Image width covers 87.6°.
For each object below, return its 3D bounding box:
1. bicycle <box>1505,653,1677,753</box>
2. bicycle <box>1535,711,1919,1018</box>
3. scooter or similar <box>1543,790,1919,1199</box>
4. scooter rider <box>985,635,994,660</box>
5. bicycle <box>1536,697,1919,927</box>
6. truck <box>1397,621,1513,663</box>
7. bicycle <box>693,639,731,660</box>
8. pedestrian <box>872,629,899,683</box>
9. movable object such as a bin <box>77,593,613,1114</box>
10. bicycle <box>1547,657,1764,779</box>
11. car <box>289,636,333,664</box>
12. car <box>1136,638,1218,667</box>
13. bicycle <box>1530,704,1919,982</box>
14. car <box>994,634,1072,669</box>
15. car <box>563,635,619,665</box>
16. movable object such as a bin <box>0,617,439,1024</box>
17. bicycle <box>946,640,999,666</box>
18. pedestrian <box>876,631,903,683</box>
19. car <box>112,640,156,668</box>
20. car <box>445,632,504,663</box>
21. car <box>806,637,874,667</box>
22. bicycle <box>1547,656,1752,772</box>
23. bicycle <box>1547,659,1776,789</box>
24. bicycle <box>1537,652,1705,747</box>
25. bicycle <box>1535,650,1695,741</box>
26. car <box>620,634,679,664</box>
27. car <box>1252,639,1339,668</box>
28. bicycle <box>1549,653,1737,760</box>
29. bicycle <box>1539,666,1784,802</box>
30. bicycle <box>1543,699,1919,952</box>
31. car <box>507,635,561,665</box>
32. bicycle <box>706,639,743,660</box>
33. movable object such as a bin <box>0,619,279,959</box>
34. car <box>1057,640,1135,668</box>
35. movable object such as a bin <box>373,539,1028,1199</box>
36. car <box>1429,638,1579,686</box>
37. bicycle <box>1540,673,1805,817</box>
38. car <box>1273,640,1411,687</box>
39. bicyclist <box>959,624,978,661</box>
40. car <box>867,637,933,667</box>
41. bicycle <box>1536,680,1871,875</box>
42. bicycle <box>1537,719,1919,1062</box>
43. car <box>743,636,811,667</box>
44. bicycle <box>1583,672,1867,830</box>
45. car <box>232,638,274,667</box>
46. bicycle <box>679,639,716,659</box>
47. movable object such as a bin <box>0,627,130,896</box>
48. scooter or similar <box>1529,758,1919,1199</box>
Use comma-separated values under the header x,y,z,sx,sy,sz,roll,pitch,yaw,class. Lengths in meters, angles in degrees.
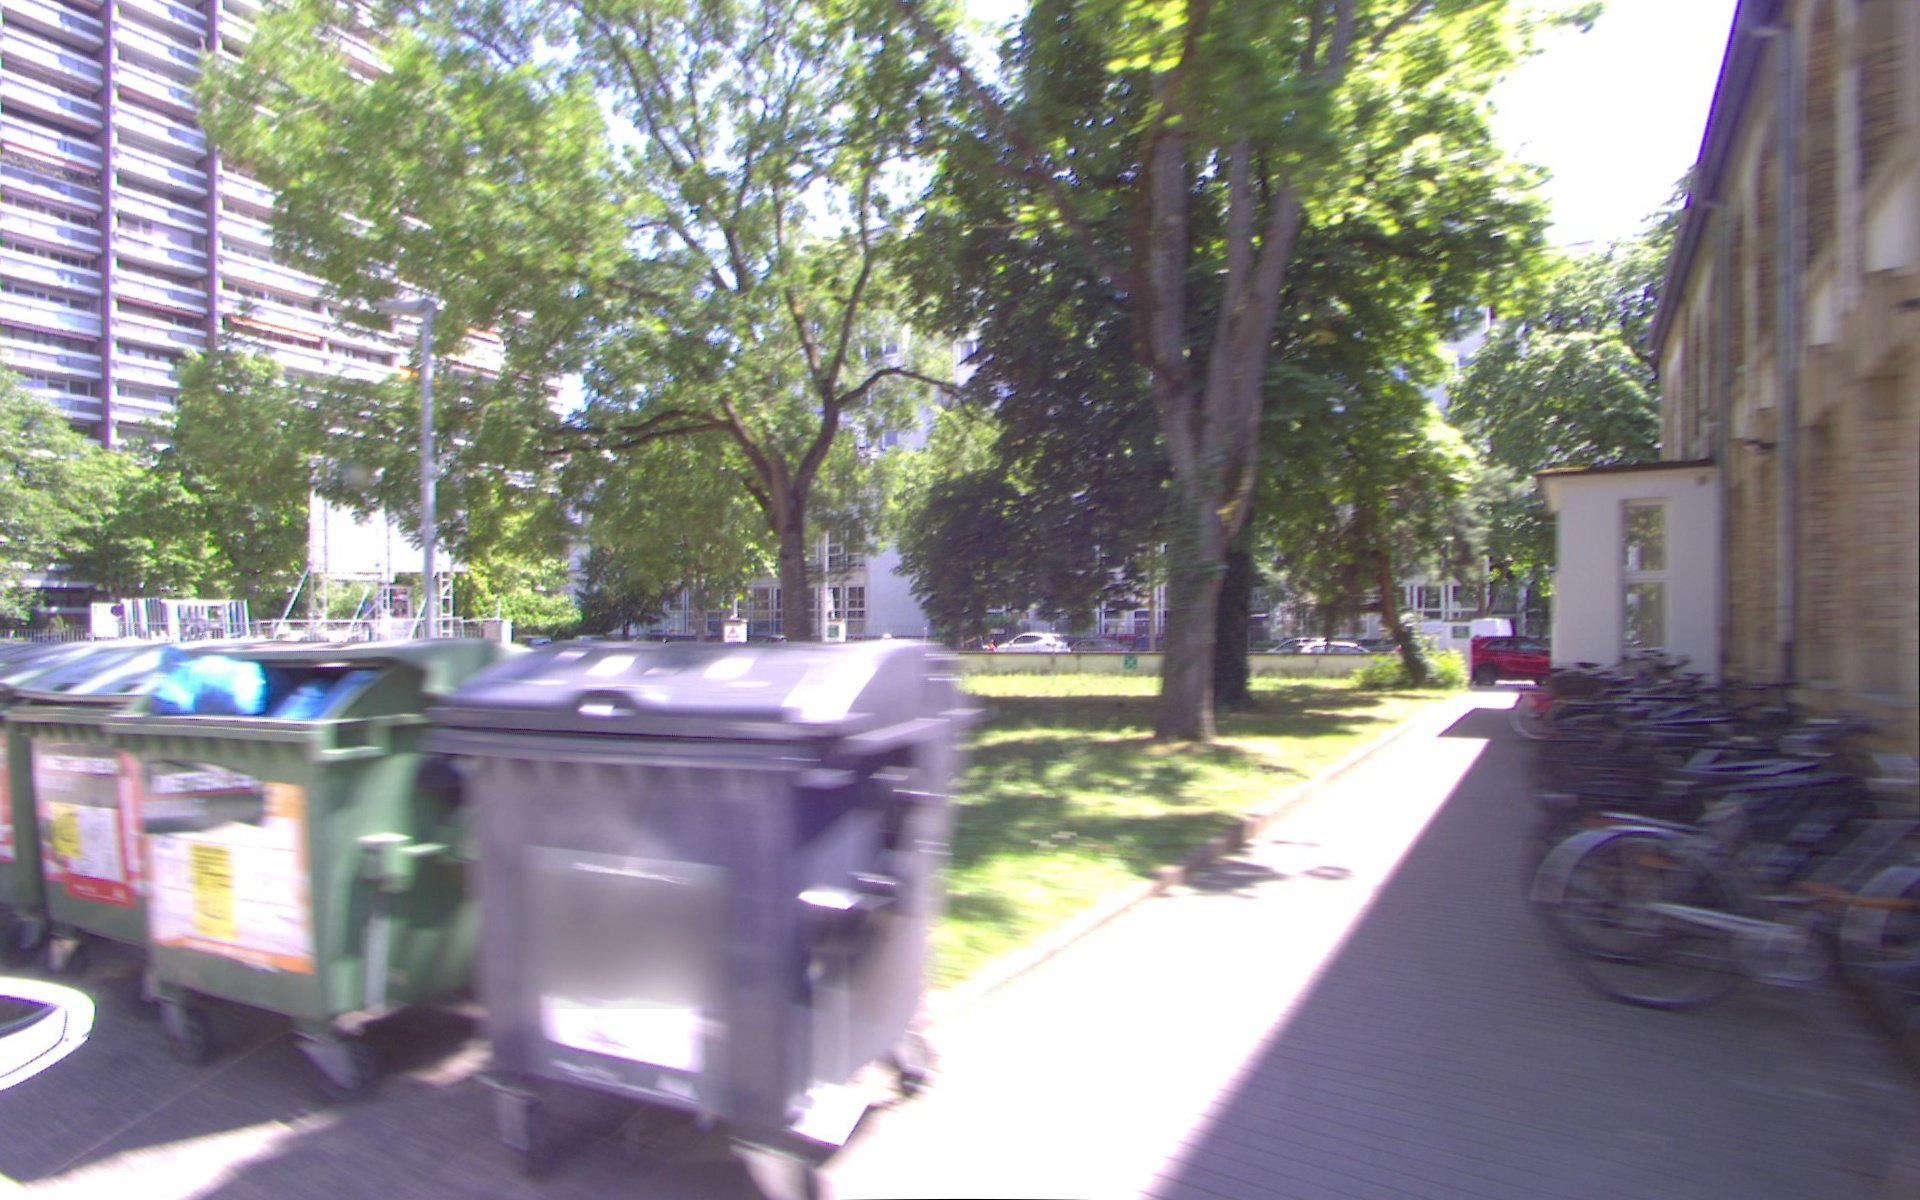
x,y,z,sx,sy,sz,roll,pitch,yaw,class
8.062,1.281,12.845,1.819,1.157,0.585,-1,-1,38,bicycle
3.495,1.076,4.251,1.809,1.081,0.452,-1,-1,33,bicycle
1.609,0.930,1.375,1.334,1.189,0.464,-1,-1,24,scooter or similar
1.325,2.155,45.364,0.409,1.148,0.359,-1,-1,0,scooter rider
4.434,1.169,5.874,1.809,1.082,0.502,0,-1,33,bicycle
23.279,2.002,47.225,1.640,1.856,4.602,1,-3,-43,truck
-14.538,2.883,58.797,0.771,1.172,2.376,-1,-2,27,bicycle
-2.256,1.700,30.388,0.718,1.609,0.741,0,-3,4,pedestrian
-2.198,0.764,3.695,1.290,1.488,1.179,-2,-2,26,movable object such as a bin
7.231,1.192,10.506,1.816,1.157,0.586,-1,-1,33,bicycle
-33.368,2.541,51.427,1.619,1.405,3.650,1,-2,-38,car
10.408,2.506,48.156,1.593,1.322,3.718,1,-2,-37,car
3.757,1.089,4.746,1.809,1.081,0.502,-1,-1,33,bicycle
3.544,2.484,49.169,1.596,1.640,3.709,1,-2,-43,car
-18.730,2.518,50.789,1.620,1.482,3.649,1,-2,-39,car
-3.299,0.848,4.508,1.291,1.488,1.178,-2,-2,28,movable object such as a bin
0.574,2.454,46.135,2.392,1.166,0.786,0,-1,-1,bicycle
-2.199,1.802,31.469,0.719,1.609,0.741,0,-3,7,pedestrian
-42.436,2.755,51.517,1.619,1.405,3.650,1,-2,-38,car
-24.300,2.348,50.085,1.622,1.482,3.643,1,-2,-43,car
-6.027,2.572,49.932,1.595,1.463,3.646,1,-2,-41,car
7.555,1.221,11.065,1.816,1.157,0.586,-1,-1,33,bicycle
6.903,1.187,9.962,1.816,1.157,0.586,-1,-1,33,bicycle
8.699,1.281,13.257,1.816,1.157,0.586,-1,-1,33,bicycle
9.056,1.294,13.912,1.816,1.157,0.586,-1,-1,33,bicycle
-15.679,2.450,50.524,1.620,1.482,3.649,1,-2,-39,car
16.283,2.570,48.641,3.707,1.307,1.598,-2,-2,44,car
8.100,1.232,11.963,1.816,1.157,0.586,-1,-1,33,bicycle
6.456,1.196,9.324,1.816,1.114,0.520,-1,-1,33,bicycle
4.087,1.107,5.205,1.809,1.081,0.502,-1,-1,33,bicycle
-21.548,2.504,50.606,1.620,1.482,3.649,1,-2,-39,car
-13.720,2.866,58.383,0.771,1.172,2.376,-1,-2,27,bicycle
-4.539,0.868,5.203,1.291,1.488,1.179,-2,-2,26,movable object such as a bin
6.606,2.596,48.963,1.593,1.297,3.717,1,-2,-38,car
-0.675,0.675,2.910,1.438,1.524,1.156,-1,-2,23,movable object such as a bin
17.409,1.969,32.173,3.860,1.483,1.706,0,-1,4,car
6.076,1.200,8.654,1.810,1.084,0.520,-1,-1,33,bicycle
12.408,2.050,32.715,3.860,1.483,1.706,0,-1,4,car
0.386,1.957,46.130,0.883,1.687,0.859,-1,-1,0,bicyclist
-3.029,2.567,49.933,1.593,1.455,3.576,1,-2,-38,car
5.082,1.168,6.988,1.809,1.118,0.520,0,-1,33,bicycle
3.228,1.056,3.770,1.809,1.081,0.452,-1,-1,33,bicycle
-9.247,2.555,50.368,1.629,1.482,3.643,1,-2,-44,car
5.827,1.138,7.673,1.799,1.118,0.472,1,0,0,bicycle
-36.672,2.694,51.904,1.619,1.405,3.650,1,-2,-38,car
-15.515,2.902,59.297,0.771,1.172,2.376,-1,-2,27,bicycle
-5.831,0.921,5.998,1.319,1.488,1.172,-2,-3,43,movable object such as a bin
1.872,0.948,1.951,1.233,1.189,0.465,-1,-1,15,scooter or similar
